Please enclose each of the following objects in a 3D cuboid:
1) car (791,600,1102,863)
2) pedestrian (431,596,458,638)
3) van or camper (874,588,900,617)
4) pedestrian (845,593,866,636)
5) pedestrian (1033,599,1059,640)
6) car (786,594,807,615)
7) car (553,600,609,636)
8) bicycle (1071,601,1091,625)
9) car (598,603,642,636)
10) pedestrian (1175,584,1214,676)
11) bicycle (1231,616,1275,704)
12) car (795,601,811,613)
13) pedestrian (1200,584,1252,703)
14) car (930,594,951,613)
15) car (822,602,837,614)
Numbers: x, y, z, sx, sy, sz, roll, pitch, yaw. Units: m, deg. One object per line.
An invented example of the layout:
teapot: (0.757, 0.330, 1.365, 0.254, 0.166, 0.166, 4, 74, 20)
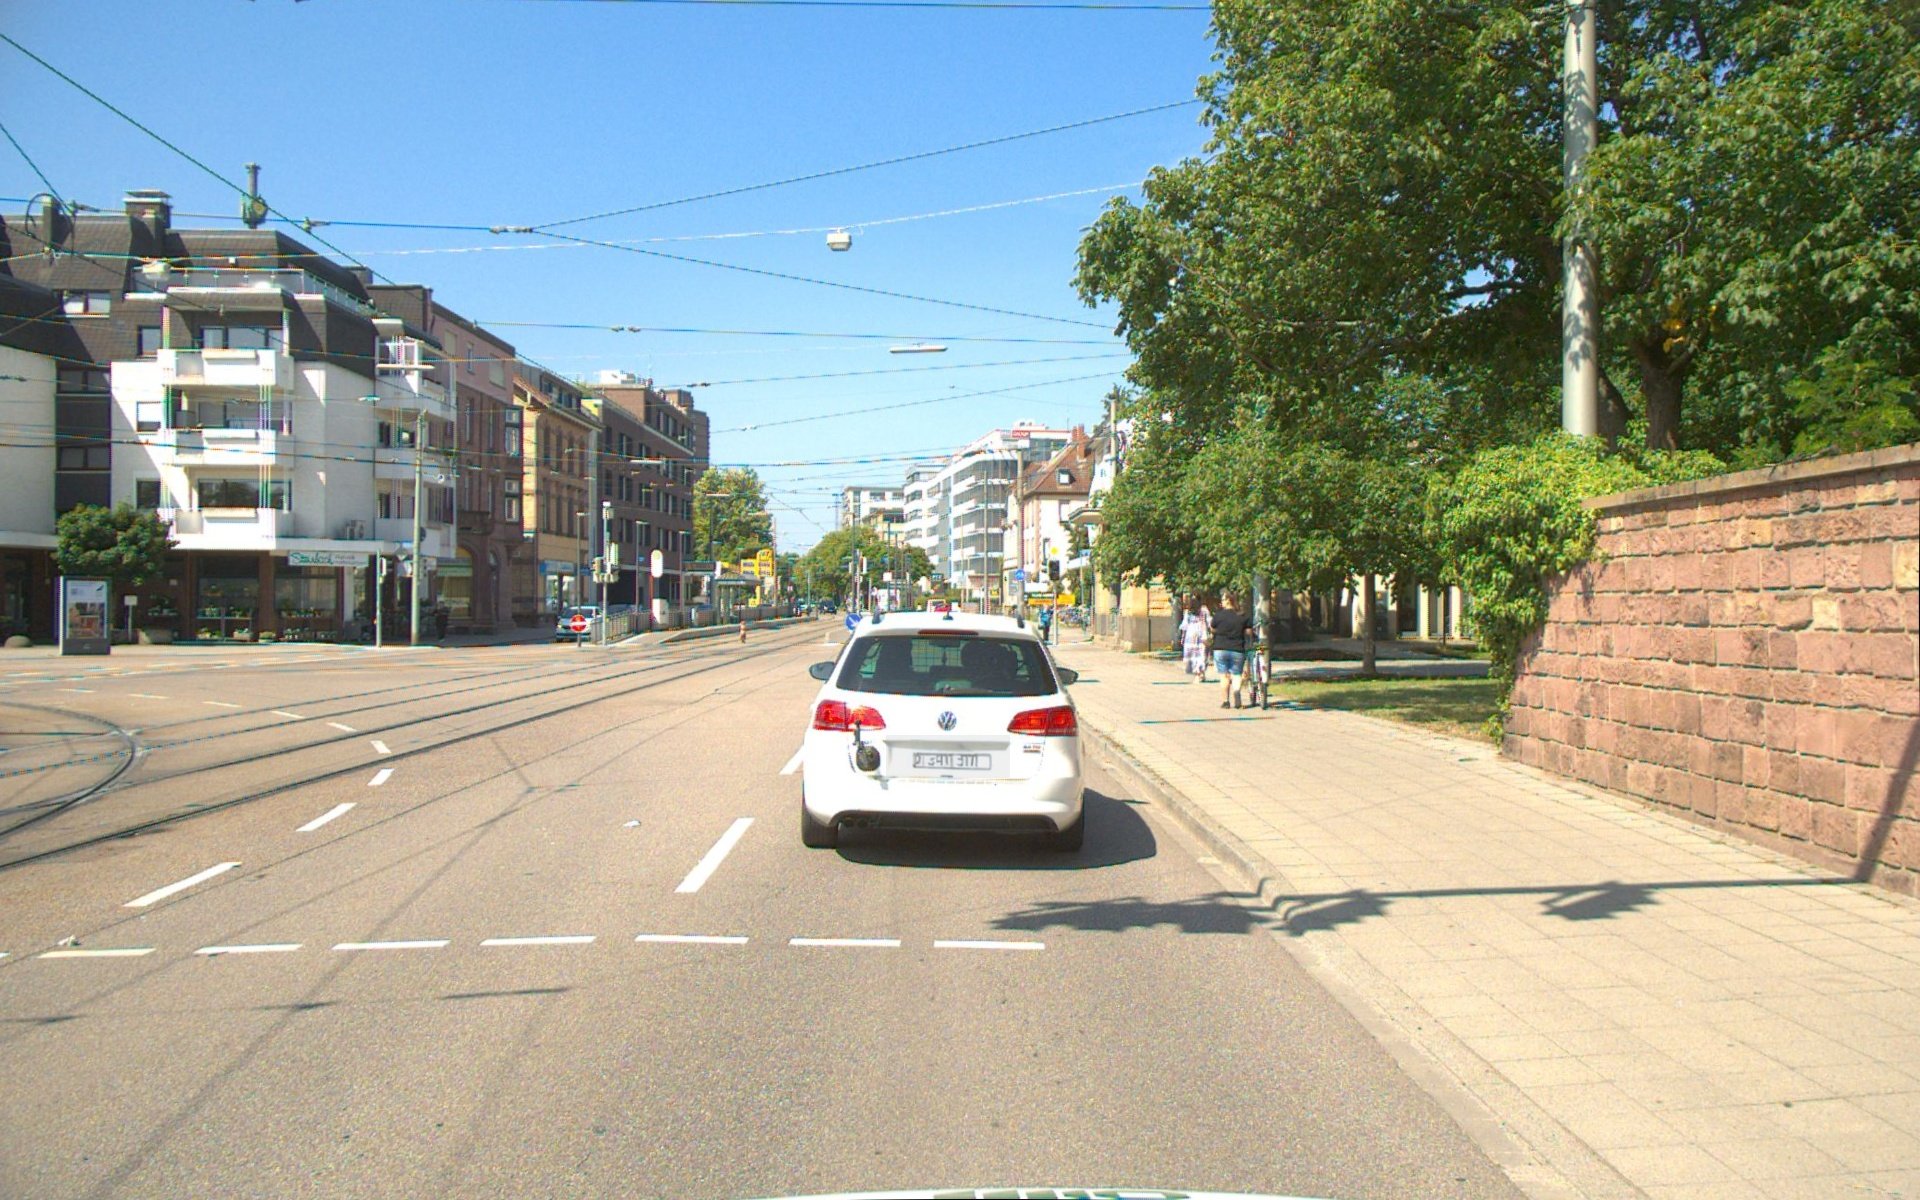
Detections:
car: (-0.082, 0.727, 11.104, 1.717, 1.442, 3.852, 0, 0, 0)
pedestrian: (-20.868, 0.697, 66.939, 0.864, 1.676, 0.677, 0, 0, 40)
van or camper: (-8.361, 0.306, 189.134, 2.884, 3.235, 6.610, 0, 0, -2)
pedestrian: (-4.466, 0.611, 70.700, 0.809, 1.841, 0.833, 0, 0, 0)
pedestrian: (3.294, 0.747, 63.038, 0.838, 1.536, 0.782, 0, 0, 16)
car: (-16.594, 0.423, 168.093, 1.954, 2.049, 3.996, -2, 0, -5)
car: (-16.171, 0.768, 70.684, 1.593, 1.456, 3.961, 1, 0, -2)
bicycle: (5.927, 0.615, 80.816, 0.710, 1.159, 2.196, 0, 0, 12)
car: (-16.133, 0.920, 78.660, 1.541, 1.484, 3.811, 0, 0, -4)
pedestrian: (4.419, 0.565, 31.192, 0.636, 1.711, 0.707, 0, 0, 2)
bicycle: (3.960, 0.789, 22.427, 0.524, 1.131, 1.808, -1, -1, 9)
car: (-19.813, 0.891, 208.687, 1.634, 1.492, 3.772, 0, 0, -1)
pedestrian: (3.626, 0.580, 22.577, 0.529, 1.576, 0.663, -2, 0, -1)
car: (-2.182, 0.420, 183.001, 1.955, 2.049, 3.996, 0, 0, -5)
car: (-16.487, 1.010, 208.345, 1.634, 1.492, 3.772, 0, 0, -1)
